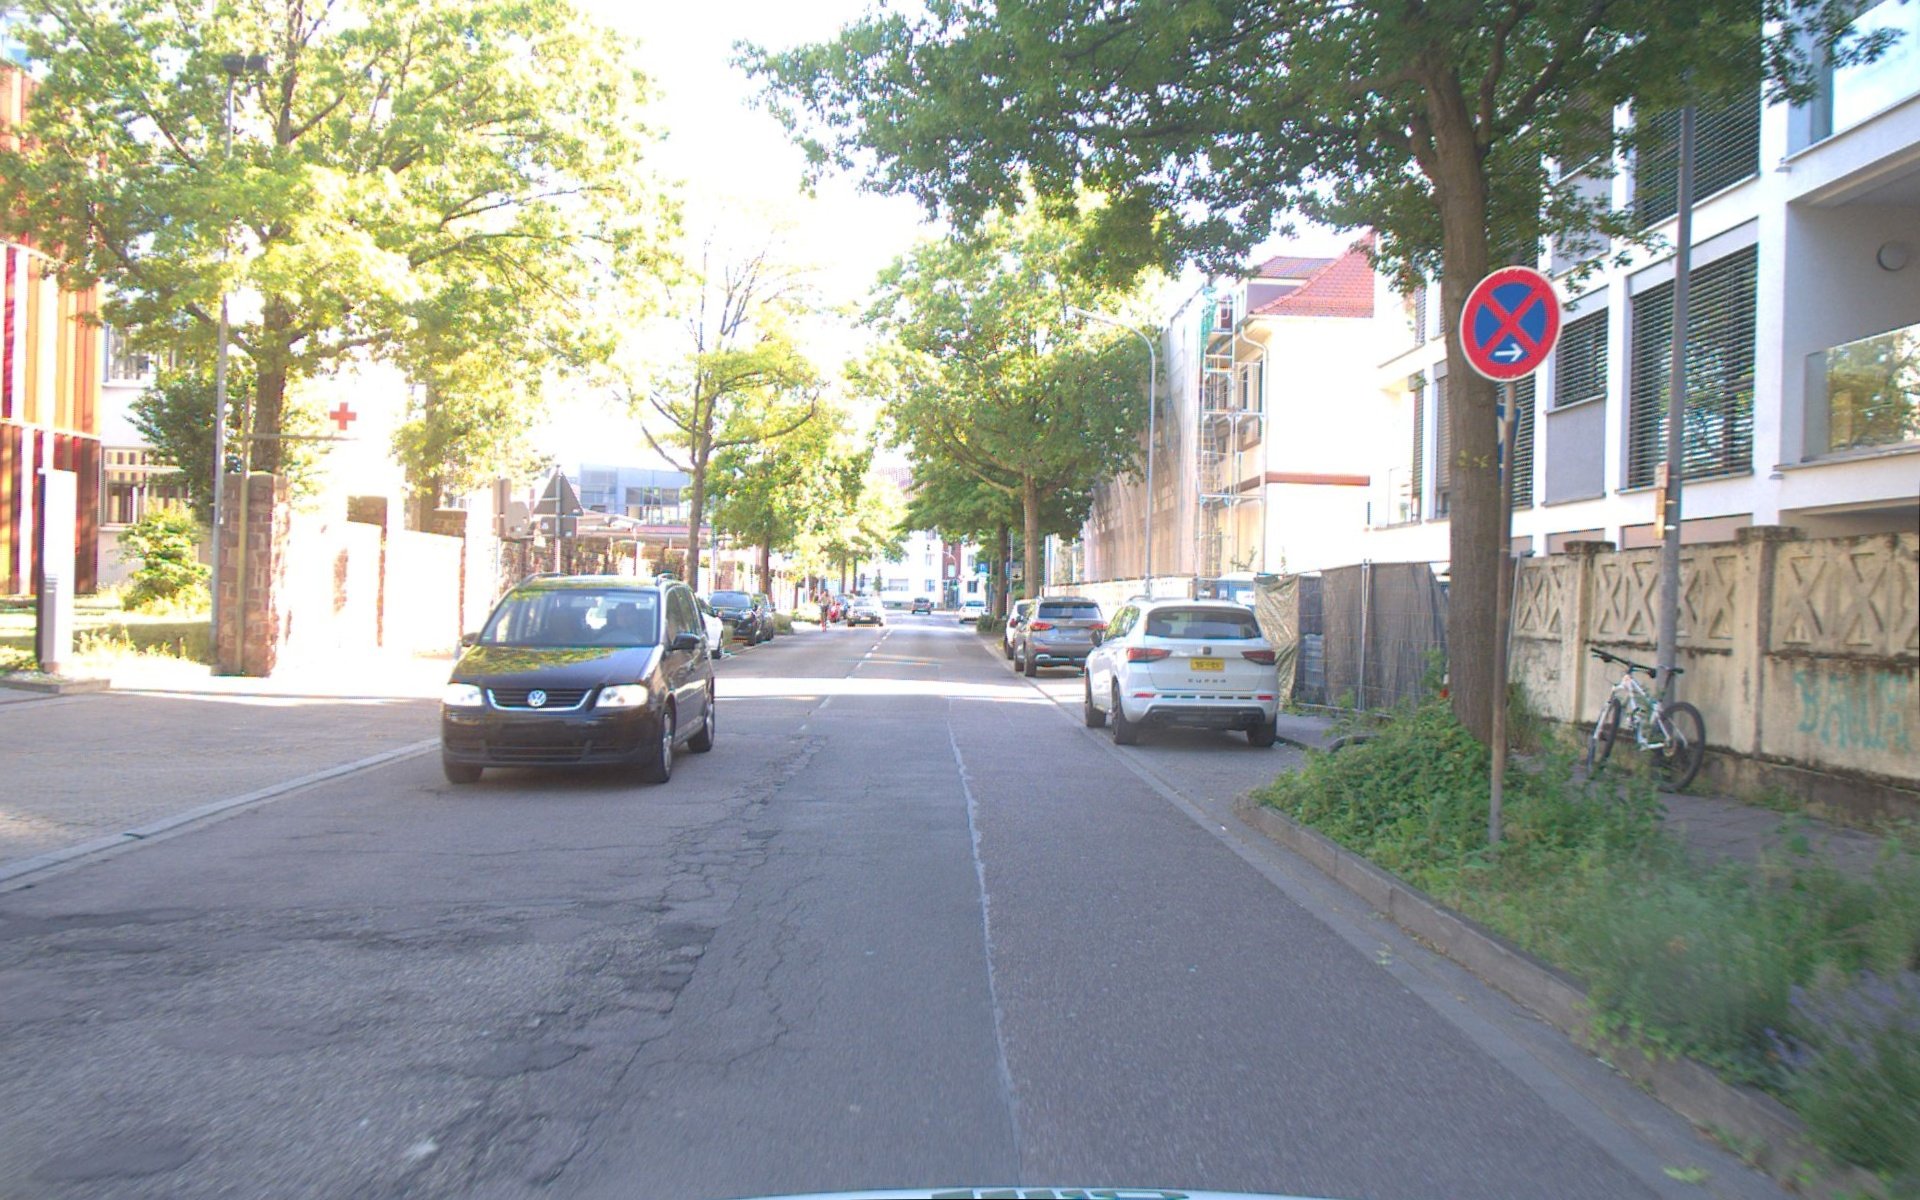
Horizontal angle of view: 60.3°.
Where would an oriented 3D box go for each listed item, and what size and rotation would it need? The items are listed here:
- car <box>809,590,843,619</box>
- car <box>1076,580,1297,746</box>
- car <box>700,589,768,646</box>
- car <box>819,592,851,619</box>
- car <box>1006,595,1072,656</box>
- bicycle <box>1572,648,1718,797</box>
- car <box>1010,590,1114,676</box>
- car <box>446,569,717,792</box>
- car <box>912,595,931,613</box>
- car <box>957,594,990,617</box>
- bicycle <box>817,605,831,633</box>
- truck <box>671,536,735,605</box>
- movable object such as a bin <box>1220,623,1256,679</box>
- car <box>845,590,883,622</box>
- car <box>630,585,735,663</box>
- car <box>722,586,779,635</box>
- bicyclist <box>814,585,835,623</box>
[{"bbox_3d":[-7.513,0.257,92.685,1.576,1.484,3.707,3,0,-1],"label":"car"},{"bbox_3d":[2.513,0.654,19.300,1.757,1.644,4.124,3,0,-3],"label":"car"},{"bbox_3d":[-6.609,0.498,48.683,1.542,1.541,4.043,2,0,-2],"label":"car"},{"bbox_3d":[-8.001,0.335,106.224,1.701,1.620,4.106,2,0,0],"label":"car"},{"bbox_3d":[2.063,0.643,44.078,1.688,1.536,3.992,0,0,2],"label":"car"},{"bbox_3d":[5.505,0.954,13.390,0.330,1.059,1.830,2,0,-2],"label":"bicycle"},{"bbox_3d":[2.122,0.660,35.317,1.678,1.667,4.300,2,0,-3],"label":"car"},{"bbox_3d":[-3.081,0.583,14.194,1.611,1.639,4.018,0,0,-3],"label":"car"},{"bbox_3d":[-3.457,0.359,147.672,1.606,1.468,3.420,3,0,-1],"label":"car"},{"bbox_3d":[0.772,0.341,100.424,1.795,1.346,4.494,1,0,-2],"label":"car"},{"bbox_3d":[-5.682,0.790,69.177,0.350,1.140,1.866,3,0,0],"label":"bicycle"},{"bbox_3d":[-15.329,-1.693,99.018,2.678,3.775,7.425,3,0,-2],"label":"truck"},{"bbox_3d":[5.453,1.003,32.440,0.585,1.045,0.564,3,0,2],"label":"movable object such as a bin"},{"bbox_3d":[-4.779,0.275,82.537,1.785,1.461,3.967,4,0,-3],"label":"car"},{"bbox_3d":[-6.179,0.507,37.203,1.643,1.537,3.848,5,0,-1],"label":"car"},{"bbox_3d":[-6.820,0.319,54.020,1.654,1.446,3.834,3,0,-6],"label":"car"},{"bbox_3d":[-5.657,0.162,69.144,0.706,1.549,1.005,3,0,1],"label":"bicyclist"}]
